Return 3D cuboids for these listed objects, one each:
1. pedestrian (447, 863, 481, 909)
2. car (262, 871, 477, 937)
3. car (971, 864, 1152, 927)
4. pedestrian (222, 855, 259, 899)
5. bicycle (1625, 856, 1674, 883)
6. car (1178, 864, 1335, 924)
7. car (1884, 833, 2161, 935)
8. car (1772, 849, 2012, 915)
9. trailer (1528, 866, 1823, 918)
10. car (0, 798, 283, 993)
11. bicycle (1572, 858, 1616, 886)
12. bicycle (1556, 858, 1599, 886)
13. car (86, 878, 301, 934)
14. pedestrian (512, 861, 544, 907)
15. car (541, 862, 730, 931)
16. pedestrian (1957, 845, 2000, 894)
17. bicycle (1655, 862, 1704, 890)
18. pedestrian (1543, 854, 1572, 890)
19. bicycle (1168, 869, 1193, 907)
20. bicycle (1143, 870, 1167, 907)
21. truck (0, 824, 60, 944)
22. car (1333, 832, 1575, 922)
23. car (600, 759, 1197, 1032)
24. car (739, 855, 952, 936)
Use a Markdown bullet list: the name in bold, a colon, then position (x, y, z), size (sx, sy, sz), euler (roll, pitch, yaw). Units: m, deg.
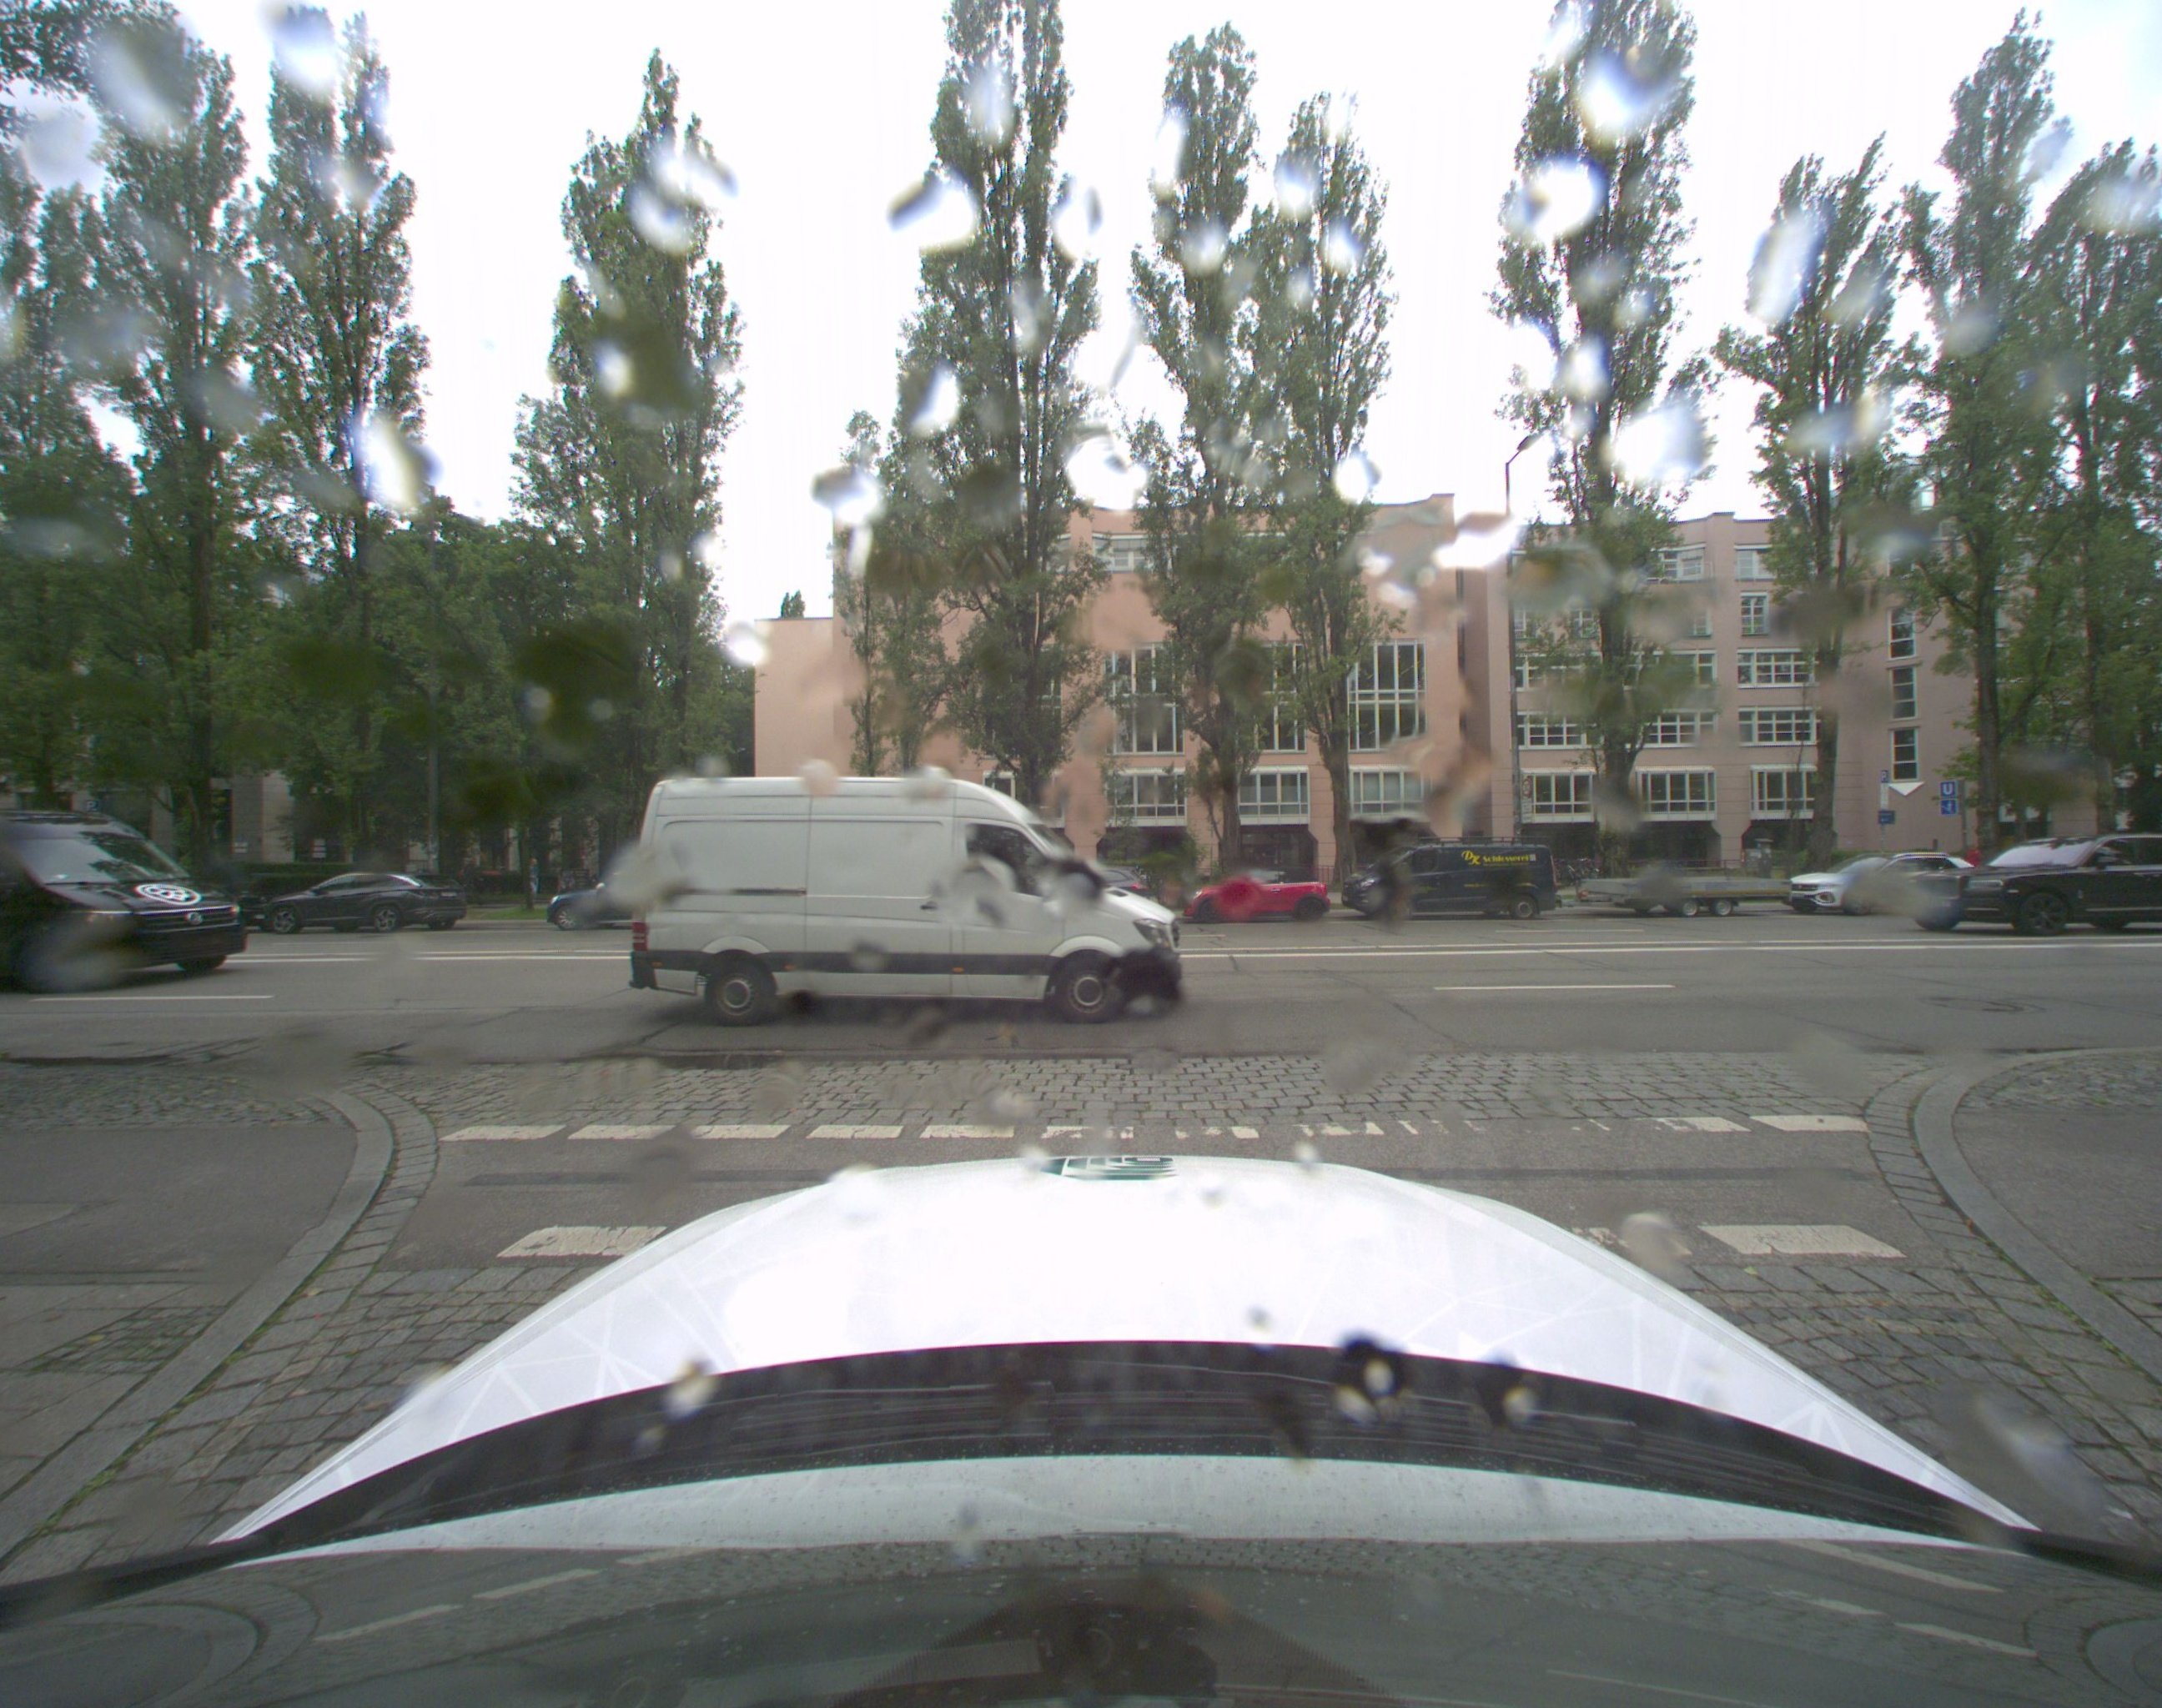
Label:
- **pedestrian**: position (-23.601, 1.221, 31.165), size (0.726, 1.713, 0.710), euler (-1, -1, 3)
- **car**: position (-18.942, 1.297, 21.800), size (4.207, 1.601, 1.794), euler (-1, 0, 2)
- **car**: position (-0.467, 1.079, 21.718), size (4.591, 1.529, 1.794), euler (-1, 0, 2)
- **pedestrian**: position (-33.239, 0.884, 32.213), size (0.726, 1.713, 0.710), euler (-1, -1, 3)
- **bicycle**: position (24.236, 0.634, 34.756), size (0.671, 1.124, 2.108), euler (-1, 0, 3)
- **car**: position (4.522, 1.024, 21.407), size (3.843, 1.449, 1.680), euler (-1, 0, 4)
- **car**: position (18.559, 0.547, 15.220), size (5.029, 1.749, 2.000), euler (-1, -2, 1)
- **car**: position (20.683, 0.724, 20.934), size (4.202, 1.542, 1.808), euler (-1, -2, 3)
- **trailer**: position (15.450, 0.967, 21.504), size (5.994, 1.199, 2.406), euler (-1, 0, 2)
- **car**: position (-15.572, 0.567, 11.811), size (5.891, 2.555, 2.083), euler (-1, 1, 1)
- **bicycle**: position (21.842, 0.742, 34.704), size (0.671, 1.124, 1.990), euler (-1, 0, 3)
- **bicycle**: position (21.124, 0.748, 34.711), size (0.671, 1.124, 1.990), euler (-1, 0, 3)
- **car**: position (-23.877, 1.375, 22.013), size (3.854, 1.412, 1.794), euler (0, -1, 2)
- **pedestrian**: position (-21.112, 1.135, 31.106), size (0.726, 1.713, 0.710), euler (-1, -1, 3)
- **car**: position (-11.850, 1.119, 21.852), size (4.051, 1.732, 1.793), euler (-1, -2, 0)
- **pedestrian**: position (31.781, 0.555, 28.842), size (0.726, 1.713, 0.710), euler (-1, -1, 3)
- **bicycle**: position (25.323, 0.912, 34.478), size (0.671, 1.124, 1.990), euler (-1, 0, 3)
- **pedestrian**: position (18.401, 0.679, 31.467), size (0.726, 1.369, 0.710), euler (-1, -1, 3)
- **bicycle**: position (3.152, 1.056, 25.934), size (0.671, 1.124, 1.743), euler (-1, 0, 3)
- **bicycle**: position (2.362, 1.078, 25.982), size (0.671, 1.124, 1.743), euler (-1, 0, 3)
- **truck**: position (-29.750, 0.758, 19.702), size (7.028, 2.907, 2.603), euler (-1, 0, 2)
- **car**: position (9.694, 0.592, 21.512), size (5.458, 2.197, 2.025), euler (-1, 0, 2)
- **car**: position (-1.820, 0.406, 9.246), size (5.999, 2.651, 2.048), euler (-1, 1, 1)
- **car**: position (-4.688, 0.815, 16.568), size (3.724, 1.527, 1.850), euler (-1, -1, 3)
